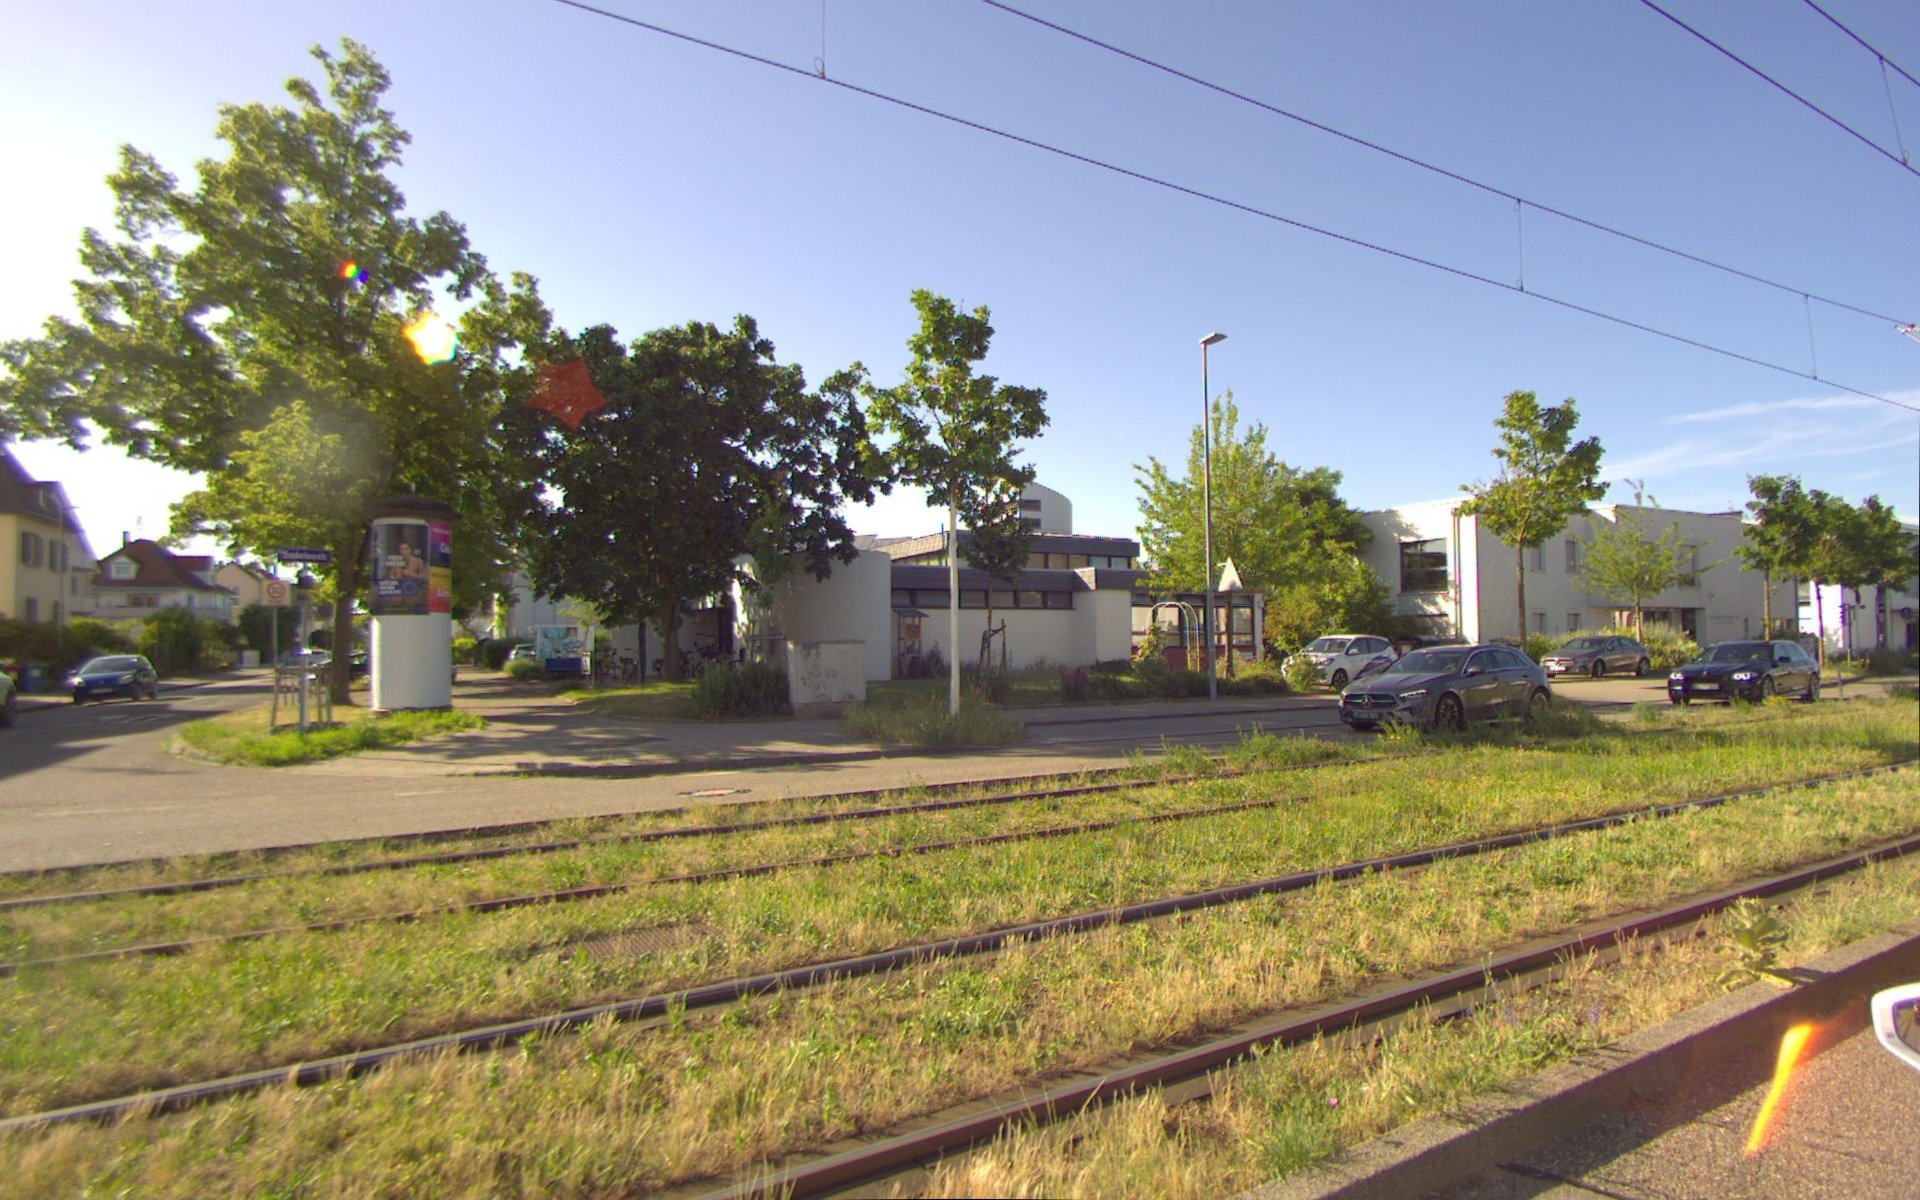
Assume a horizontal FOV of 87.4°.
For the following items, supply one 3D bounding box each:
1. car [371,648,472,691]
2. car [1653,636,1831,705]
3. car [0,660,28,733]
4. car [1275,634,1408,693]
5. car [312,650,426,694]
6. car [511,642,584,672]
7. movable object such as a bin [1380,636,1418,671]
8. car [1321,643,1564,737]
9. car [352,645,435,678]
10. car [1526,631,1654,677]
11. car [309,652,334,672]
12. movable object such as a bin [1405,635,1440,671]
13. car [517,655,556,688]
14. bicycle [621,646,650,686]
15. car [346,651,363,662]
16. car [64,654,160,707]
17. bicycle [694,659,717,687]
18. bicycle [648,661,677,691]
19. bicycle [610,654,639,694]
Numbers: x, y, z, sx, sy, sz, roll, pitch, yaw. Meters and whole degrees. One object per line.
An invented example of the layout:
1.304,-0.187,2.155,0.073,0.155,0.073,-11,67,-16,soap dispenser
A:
-21.479,2.741,40.174,3.342,1.551,1.472,0,-1,-20,car
18.570,1.636,23.801,4.863,1.463,1.753,1,-4,-33,car
-20.296,2.000,19.908,1.817,1.448,3.843,-2,-1,-30,car
10.597,1.708,27.829,3.734,1.511,1.536,1,-1,-33,car
-21.425,2.599,36.540,3.269,1.429,1.647,0,-1,-20,car
-24.841,3.417,60.477,3.948,1.639,1.761,0,-1,-27,car
17.936,2.171,41.037,1.401,1.401,0.663,1,-1,-23,movable object such as a bin
8.392,1.497,17.383,4.338,1.406,1.680,1,-4,-32,car
-31.471,3.406,55.882,3.954,1.638,1.615,0,-1,-31,car
21.708,1.836,34.599,4.261,1.480,1.804,1,-1,-27,car
-60.795,5.909,95.646,1.441,1.687,3.940,1,-1,-24,car
19.217,2.197,41.736,1.237,1.452,0.663,1,-1,-23,movable object such as a bin
-17.548,2.931,41.548,1.324,1.228,4.005,1,-2,-25,car
-9.053,1.840,28.042,1.025,1.073,0.303,-3,-3,43,bicycle
-75.312,7.014,124.884,1.415,1.351,3.257,1,-1,-24,car
-27.238,2.538,32.368,1.705,1.481,3.601,1,-1,-30,car
-7.385,2.111,29.150,0.299,0.790,1.052,1,-3,-36,bicycle
-8.501,2.159,28.699,0.332,0.835,1.231,1,-3,-40,bicycle
-9.284,2.039,27.775,1.042,1.097,0.303,-3,-3,42,bicycle
